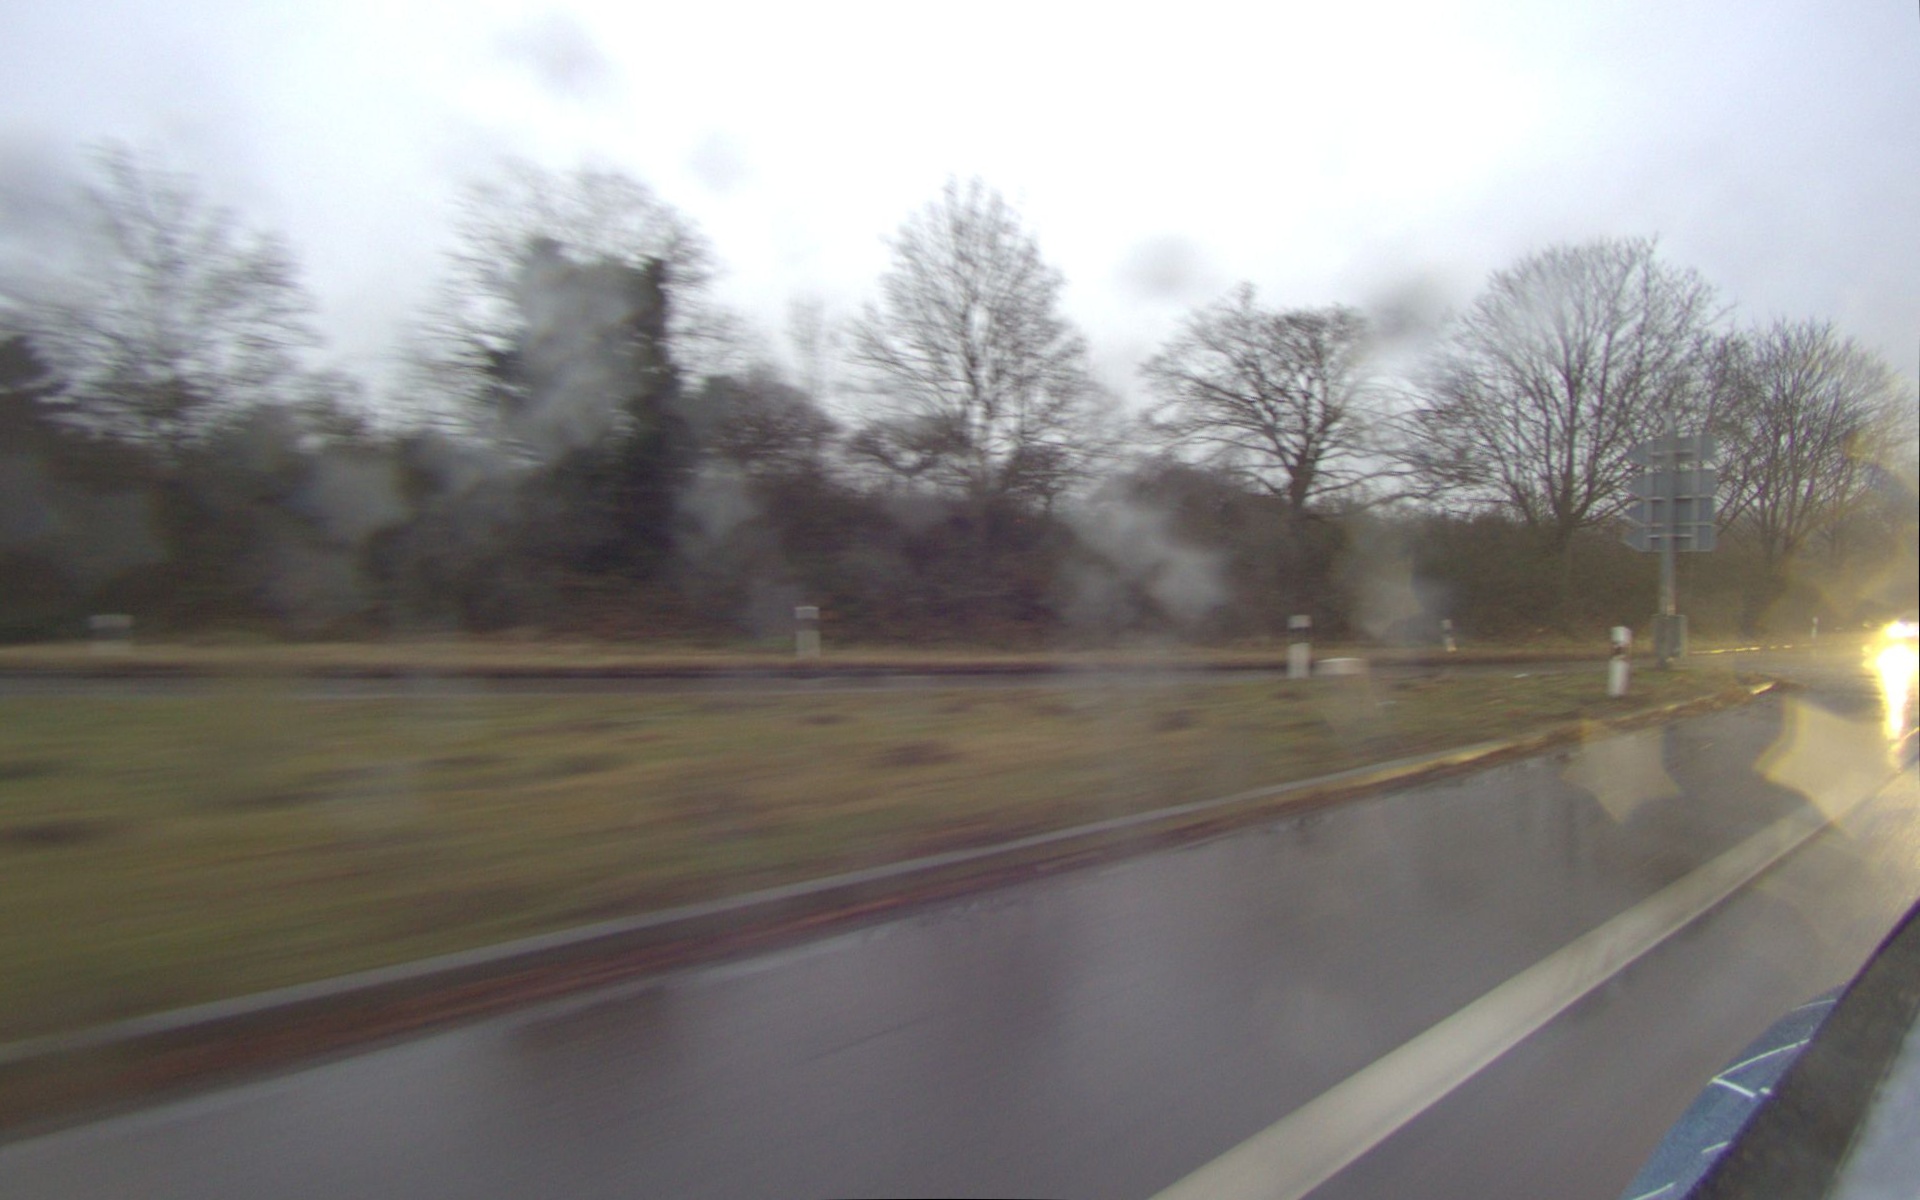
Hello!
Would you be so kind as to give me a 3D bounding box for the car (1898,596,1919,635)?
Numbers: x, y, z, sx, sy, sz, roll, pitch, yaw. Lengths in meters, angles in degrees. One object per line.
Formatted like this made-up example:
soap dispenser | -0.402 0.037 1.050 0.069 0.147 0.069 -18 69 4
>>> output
car | 37.525 0.584 38.701 3.720 1.452 1.729 -1 2 -36
